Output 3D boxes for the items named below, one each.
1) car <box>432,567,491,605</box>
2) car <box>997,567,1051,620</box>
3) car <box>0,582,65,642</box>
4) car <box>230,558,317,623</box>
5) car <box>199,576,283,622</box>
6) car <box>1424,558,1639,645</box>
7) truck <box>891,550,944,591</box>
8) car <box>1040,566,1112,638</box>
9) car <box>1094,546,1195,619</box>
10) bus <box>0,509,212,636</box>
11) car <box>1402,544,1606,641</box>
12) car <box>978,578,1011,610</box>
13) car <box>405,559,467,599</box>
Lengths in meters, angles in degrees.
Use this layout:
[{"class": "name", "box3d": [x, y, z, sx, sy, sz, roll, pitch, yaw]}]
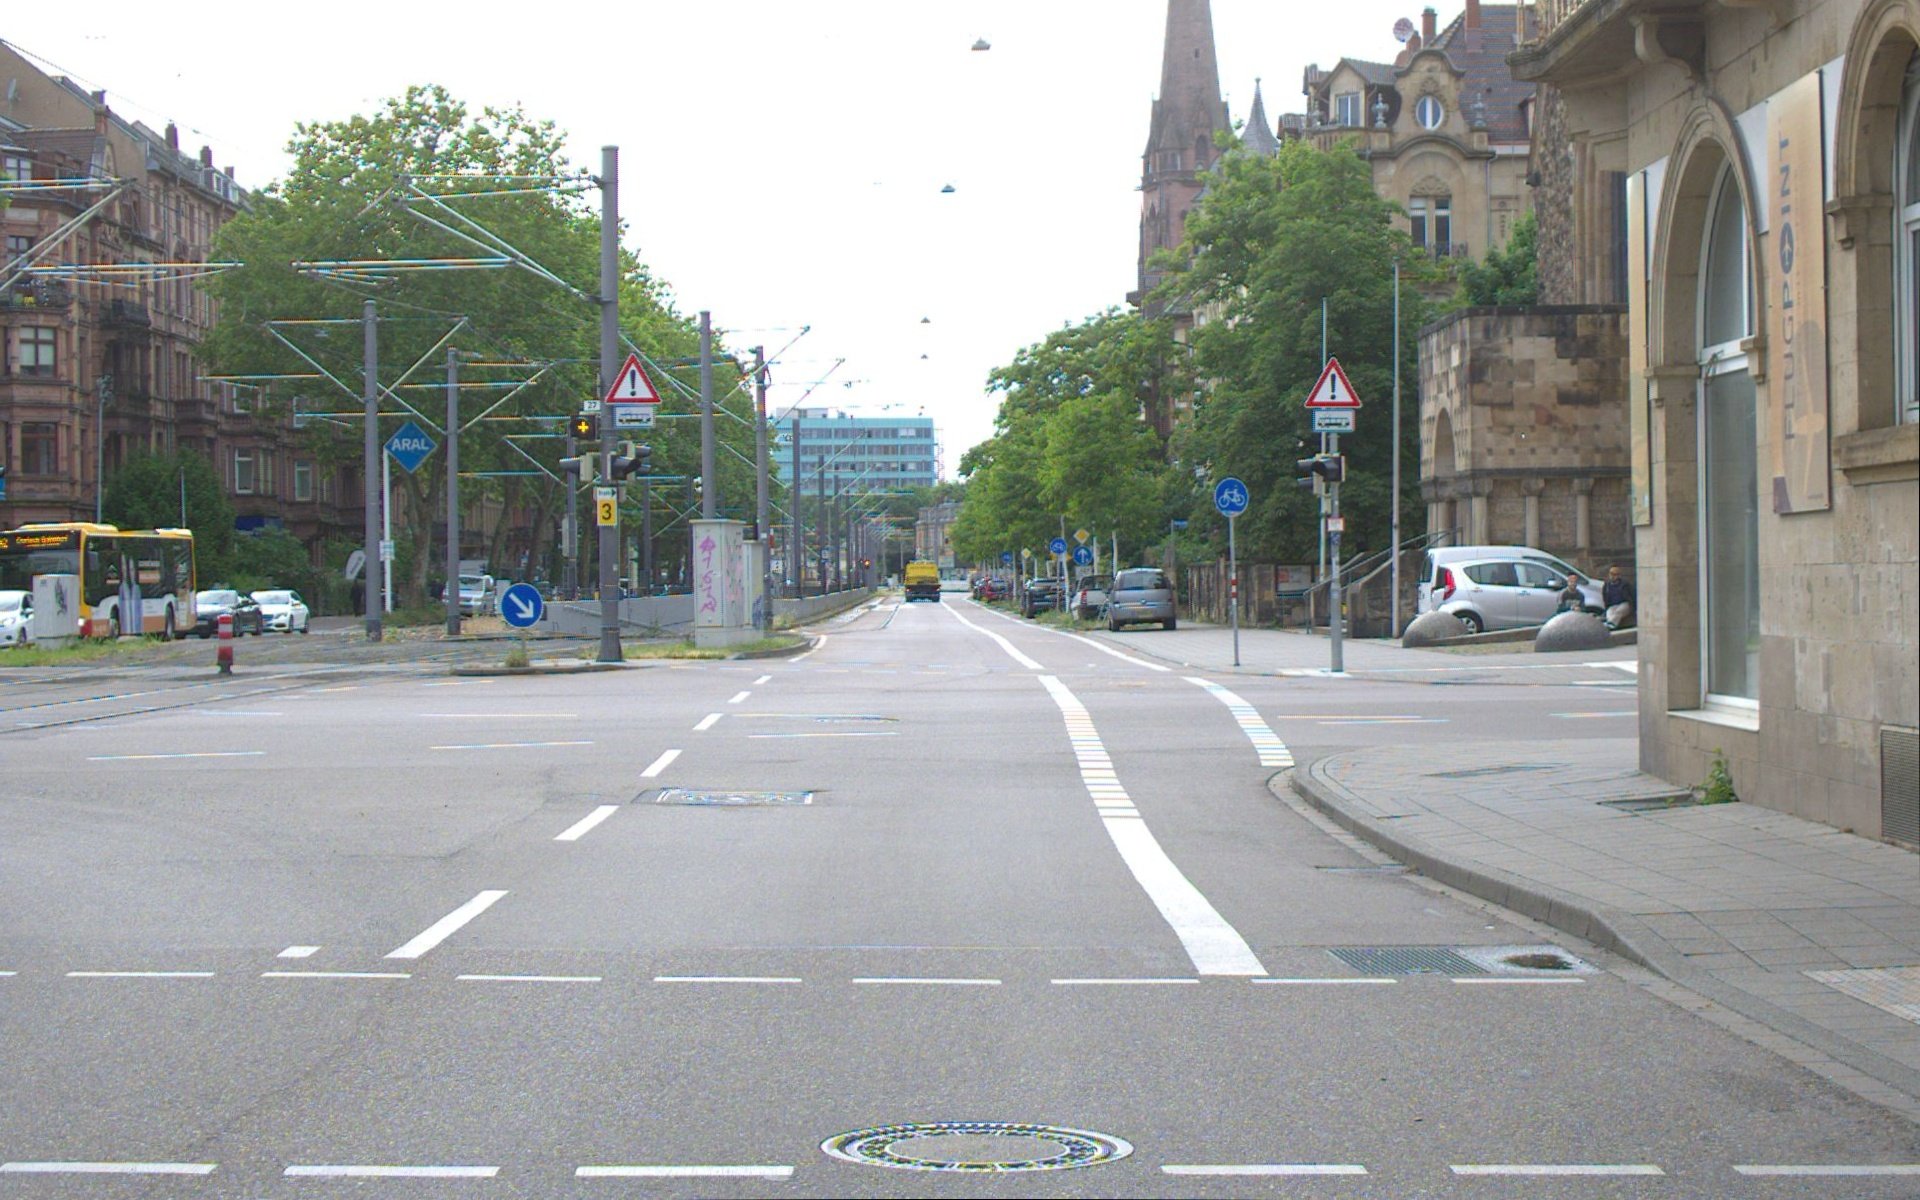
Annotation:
[{"class": "car", "box3d": [-21.637, -0.632, 149.335, 1.993, 1.605, 4.000, 1, 1, -1]}, {"class": "car", "box3d": [2.527, -0.269, 136.189, 1.993, 2.007, 4.000, 1, 1, -1]}, {"class": "car", "box3d": [-21.917, 0.261, 79.043, 1.656, 1.316, 3.638, 1, 1, 1]}, {"class": "car", "box3d": [-21.846, -0.317, 109.600, 1.993, 2.007, 4.000, 1, 1, -1]}, {"class": "car", "box3d": [-21.346, -0.046, 102.206, 1.656, 1.316, 3.638, 1, 1, 1]}, {"class": "car", "box3d": [10.757, 0.023, 64.892, 3.713, 1.558, 2.000, 1, 0, 0]}, {"class": "truck", "box3d": [-2.883, -2.027, 237.351, 3.055, 2.760, 9.814, 0, 1, 3]}, {"class": "car", "box3d": [3.336, 0.038, 99.634, 1.993, 2.007, 4.000, 1, 1, 1]}, {"class": "car", "box3d": [4.860, -0.466, 89.983, 1.994, 1.849, 4.024, 1, 1, 12]}, {"class": "bus", "box3d": [-22.485, -0.728, 89.092, 3.231, 3.025, 12.311, 1, 1, 1]}, {"class": "car", "box3d": [10.786, -0.155, 68.403, 3.713, 1.849, 2.000, 1, 0, 0]}, {"class": "car", "box3d": [2.183, -0.389, 216.835, 1.993, 2.007, 4.000, 1, 1, -1]}, {"class": "car", "box3d": [-21.546, -0.873, 141.518, 1.993, 1.605, 4.000, 1, 1, -1]}]
